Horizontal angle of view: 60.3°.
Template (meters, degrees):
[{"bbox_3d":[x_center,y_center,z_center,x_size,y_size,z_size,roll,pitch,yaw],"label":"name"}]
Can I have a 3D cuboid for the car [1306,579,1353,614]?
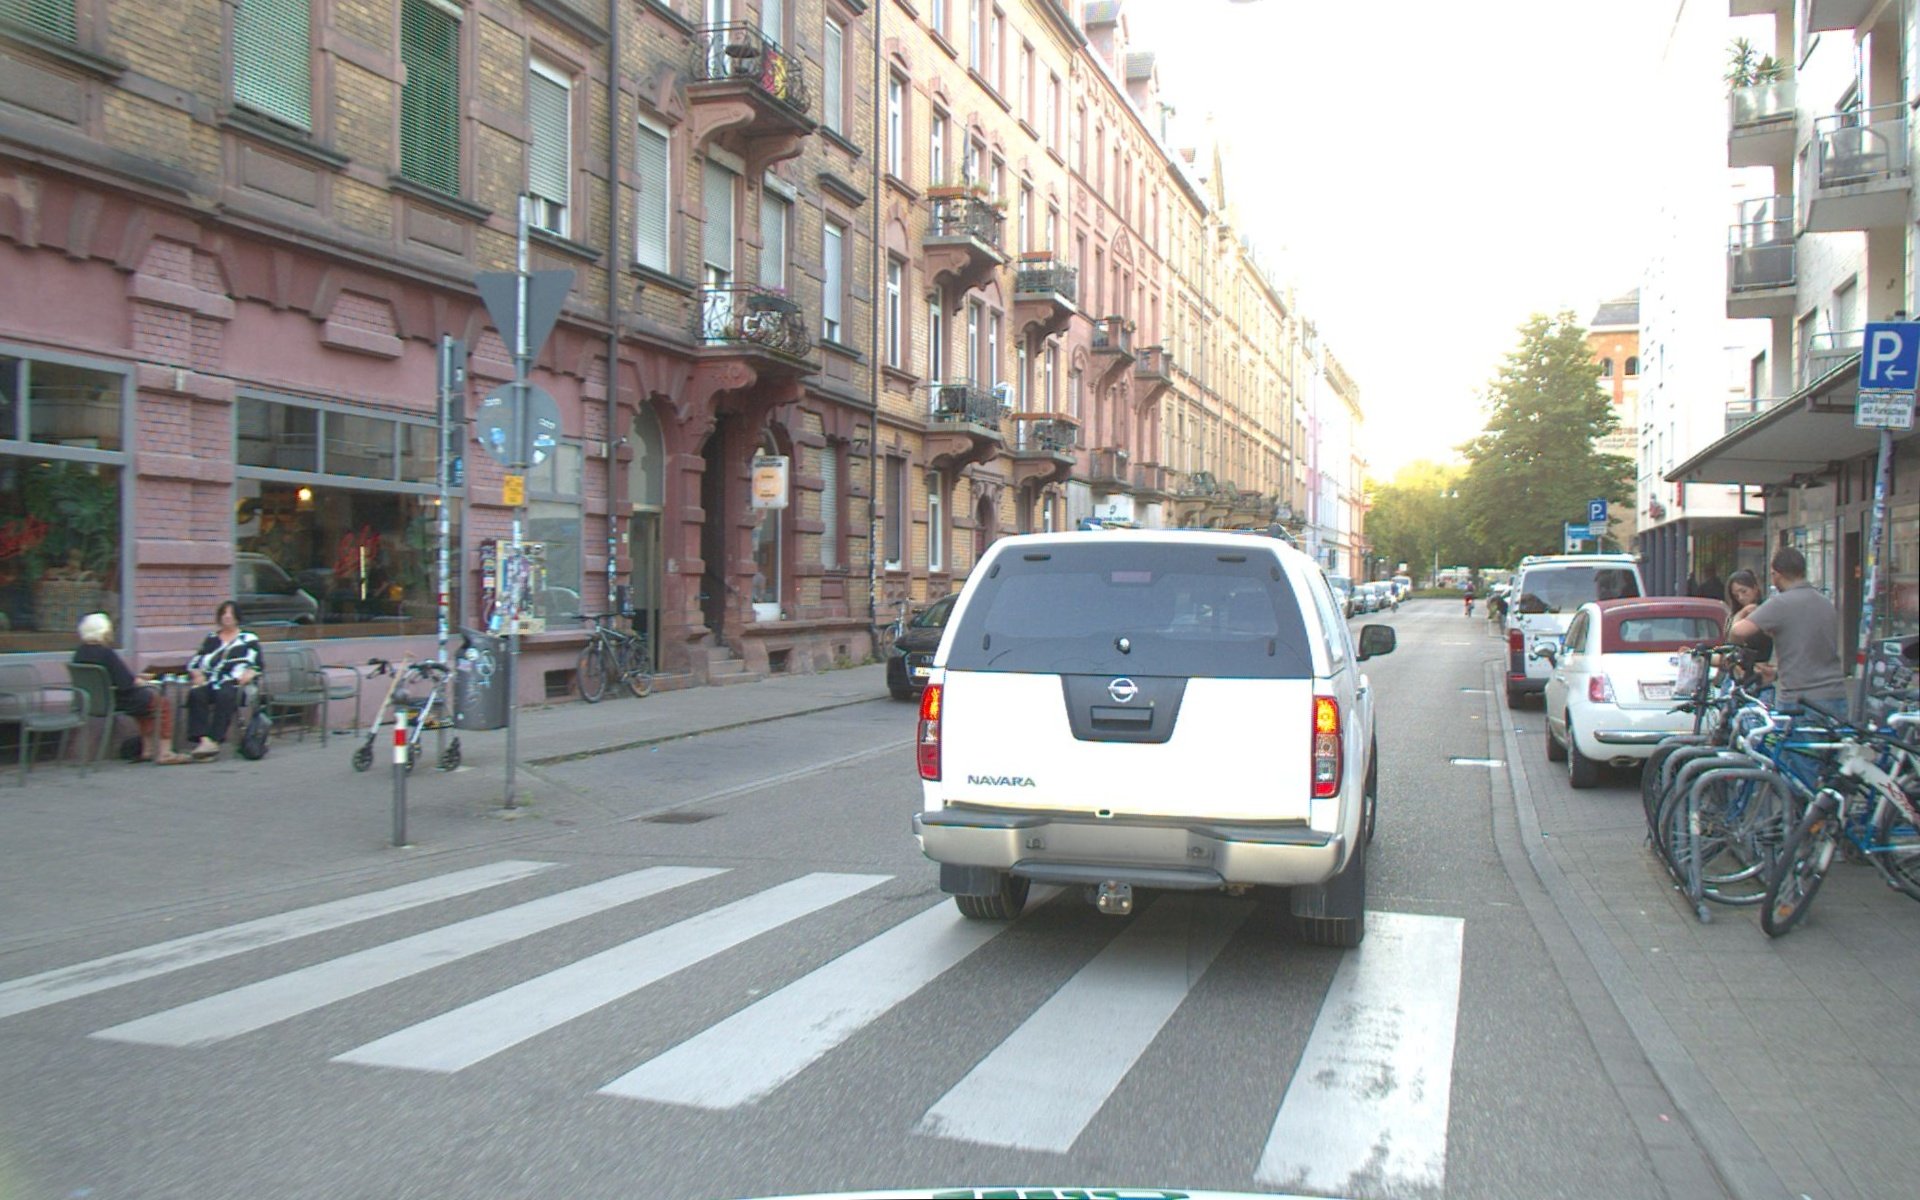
[{"bbox_3d":[16.520,-0.173,73.801,1.746,1.447,4.488,2,1,16],"label":"car"}]

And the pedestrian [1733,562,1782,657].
[{"bbox_3d":[14.501,0.171,30.078,0.696,1.695,0.743,-2,-1,32],"label":"pedestrian"}]

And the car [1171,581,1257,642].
[{"bbox_3d":[6.575,0.252,42.580,1.552,1.445,3.698,1,1,18],"label":"car"}]

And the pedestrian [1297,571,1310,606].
[{"bbox_3d":[18.134,-0.596,87.307,0.592,1.803,0.778,3,2,14],"label":"pedestrian"}]

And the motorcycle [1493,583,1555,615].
[{"bbox_3d":[20.641,-0.022,60.585,2.014,1.097,0.664,-2,-1,3],"label":"motorcycle"}]

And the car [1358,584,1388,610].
[{"bbox_3d":[26.445,-0.195,105.858,1.601,1.592,3.784,1,1,17],"label":"car"}]

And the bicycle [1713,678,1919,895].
[{"bbox_3d":[4.558,0.907,8.229,1.449,1.019,0.510,-2,-1,25],"label":"bicycle"}]

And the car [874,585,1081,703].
[{"bbox_3d":[0.337,0.539,22.994,1.658,1.445,3.855,1,1,20],"label":"car"}]

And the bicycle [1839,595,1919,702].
[{"bbox_3d":[11.514,0.561,20.017,0.891,1.216,1.712,-2,-1,4],"label":"bicycle"}]

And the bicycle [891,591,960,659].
[{"bbox_3d":[-0.631,0.440,30.881,0.516,1.191,2.048,2,2,21],"label":"bicycle"}]

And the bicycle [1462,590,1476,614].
[{"bbox_3d":[25.141,0.093,81.702,0.631,1.100,1.833,-1,0,16],"label":"bicycle"}]

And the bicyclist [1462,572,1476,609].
[{"bbox_3d":[25.138,-0.461,81.724,0.631,1.791,0.648,-1,0,16],"label":"bicyclist"}]

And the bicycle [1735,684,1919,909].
[{"bbox_3d":[4.454,0.907,7.764,1.387,1.001,0.511,-1,-1,15],"label":"bicycle"}]

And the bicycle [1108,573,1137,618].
[{"bbox_3d":[4.494,-0.118,45.948,0.693,1.217,1.742,1,0,3],"label":"bicycle"}]

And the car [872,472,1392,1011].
[{"bbox_3d":[1.248,0.475,8.632,1.870,1.885,5.274,2,1,14],"label":"car"}]

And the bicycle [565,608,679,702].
[{"bbox_3d":[-4.123,0.647,20.318,0.416,1.071,1.898,1,1,21],"label":"bicycle"}]

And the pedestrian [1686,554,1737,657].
[{"bbox_3d":[13.901,0.107,30.591,0.696,1.860,0.858,-2,-1,33],"label":"pedestrian"}]

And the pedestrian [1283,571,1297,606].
[{"bbox_3d":[17.418,-0.625,87.288,0.567,1.802,0.998,3,2,14],"label":"pedestrian"}]

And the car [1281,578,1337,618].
[{"bbox_3d":[14.090,-0.101,66.599,1.681,1.483,4.002,2,1,19],"label":"car"}]

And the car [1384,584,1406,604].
[{"bbox_3d":[36.421,-0.524,138.506,1.662,1.579,4.025,2,1,15],"label":"car"}]

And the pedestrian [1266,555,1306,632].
[{"bbox_3d":[7.274,-0.152,36.889,0.790,1.689,0.673,0,0,18],"label":"pedestrian"}]

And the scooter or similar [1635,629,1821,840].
[{"bbox_3d":[4.840,0.813,10.413,1.149,1.191,0.531,-3,2,-33],"label":"scooter or similar"}]

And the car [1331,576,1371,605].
[{"bbox_3d":[20.800,-0.477,87.816,1.700,1.443,4.781,2,0,17],"label":"car"}]

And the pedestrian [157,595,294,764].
[{"bbox_3d":[-5.976,0.623,13.498,0.634,1.276,0.909,3,2,3],"label":"pedestrian"}]

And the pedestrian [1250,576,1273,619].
[{"bbox_3d":[12.652,-0.089,69.423,0.544,1.786,1.019,1,-1,35],"label":"pedestrian"}]

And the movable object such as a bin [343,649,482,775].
[{"bbox_3d":[-4.315,0.866,13.060,0.745,0.932,0.730,1,0,15],"label":"movable object such as a bin"}]

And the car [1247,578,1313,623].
[{"bbox_3d":[11.231,-0.011,57.796,1.721,1.436,4.511,1,1,18],"label":"car"}]

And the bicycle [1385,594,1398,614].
[{"bbox_3d":[24.058,0.228,92.232,0.631,1.100,2.170,-1,0,12],"label":"bicycle"}]

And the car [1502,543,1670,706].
[{"bbox_3d":[8.656,0.281,23.215,1.917,2.008,5.005,-2,0,18],"label":"car"}]

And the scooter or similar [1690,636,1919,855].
[{"bbox_3d":[4.909,0.830,9.585,1.135,1.191,0.538,-1,2,11],"label":"scooter or similar"}]

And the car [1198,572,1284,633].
[{"bbox_3d":[8.182,0.029,47.906,1.814,1.662,4.448,1,1,18],"label":"car"}]

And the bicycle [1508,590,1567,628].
[{"bbox_3d":[18.176,0.286,52.077,1.686,1.137,0.707,-2,-1,16],"label":"bicycle"}]

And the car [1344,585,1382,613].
[{"bbox_3d":[23.562,-0.062,96.705,1.796,1.483,4.208,3,1,18],"label":"car"}]

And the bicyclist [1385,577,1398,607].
[{"bbox_3d":[24.044,-0.465,92.244,0.631,1.649,0.919,-1,0,12],"label":"bicyclist"}]

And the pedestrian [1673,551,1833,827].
[{"bbox_3d":[4.870,0.523,10.171,0.636,1.628,0.588,-1,0,-22],"label":"pedestrian"}]

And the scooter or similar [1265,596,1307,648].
[{"bbox_3d":[7.280,0.493,36.893,0.790,1.123,1.173,0,1,18],"label":"scooter or similar"}]

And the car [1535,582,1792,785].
[{"bbox_3d":[5.942,0.639,14.307,1.558,1.527,3.426,-2,0,15],"label":"car"}]

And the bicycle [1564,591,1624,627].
[{"bbox_3d":[19.656,0.279,51.312,1.687,1.072,0.653,-2,-1,21],"label":"bicycle"}]

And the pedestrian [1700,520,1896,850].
[{"bbox_3d":[4.738,0.463,9.390,0.721,1.787,0.663,-1,0,-4],"label":"pedestrian"}]

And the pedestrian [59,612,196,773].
[{"bbox_3d":[-6.308,0.681,12.554,0.493,1.163,0.791,1,-1,19],"label":"pedestrian"}]

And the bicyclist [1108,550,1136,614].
[{"bbox_3d":[4.505,-0.500,45.980,0.693,1.760,0.843,1,-1,2],"label":"bicyclist"}]

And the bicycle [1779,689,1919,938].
[{"bbox_3d":[4.416,0.902,7.101,1.514,1.019,0.511,-1,-1,15],"label":"bicycle"}]

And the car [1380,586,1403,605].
[{"bbox_3d":[34.682,-0.394,132.832,1.662,1.451,4.025,2,1,15],"label":"car"}]
